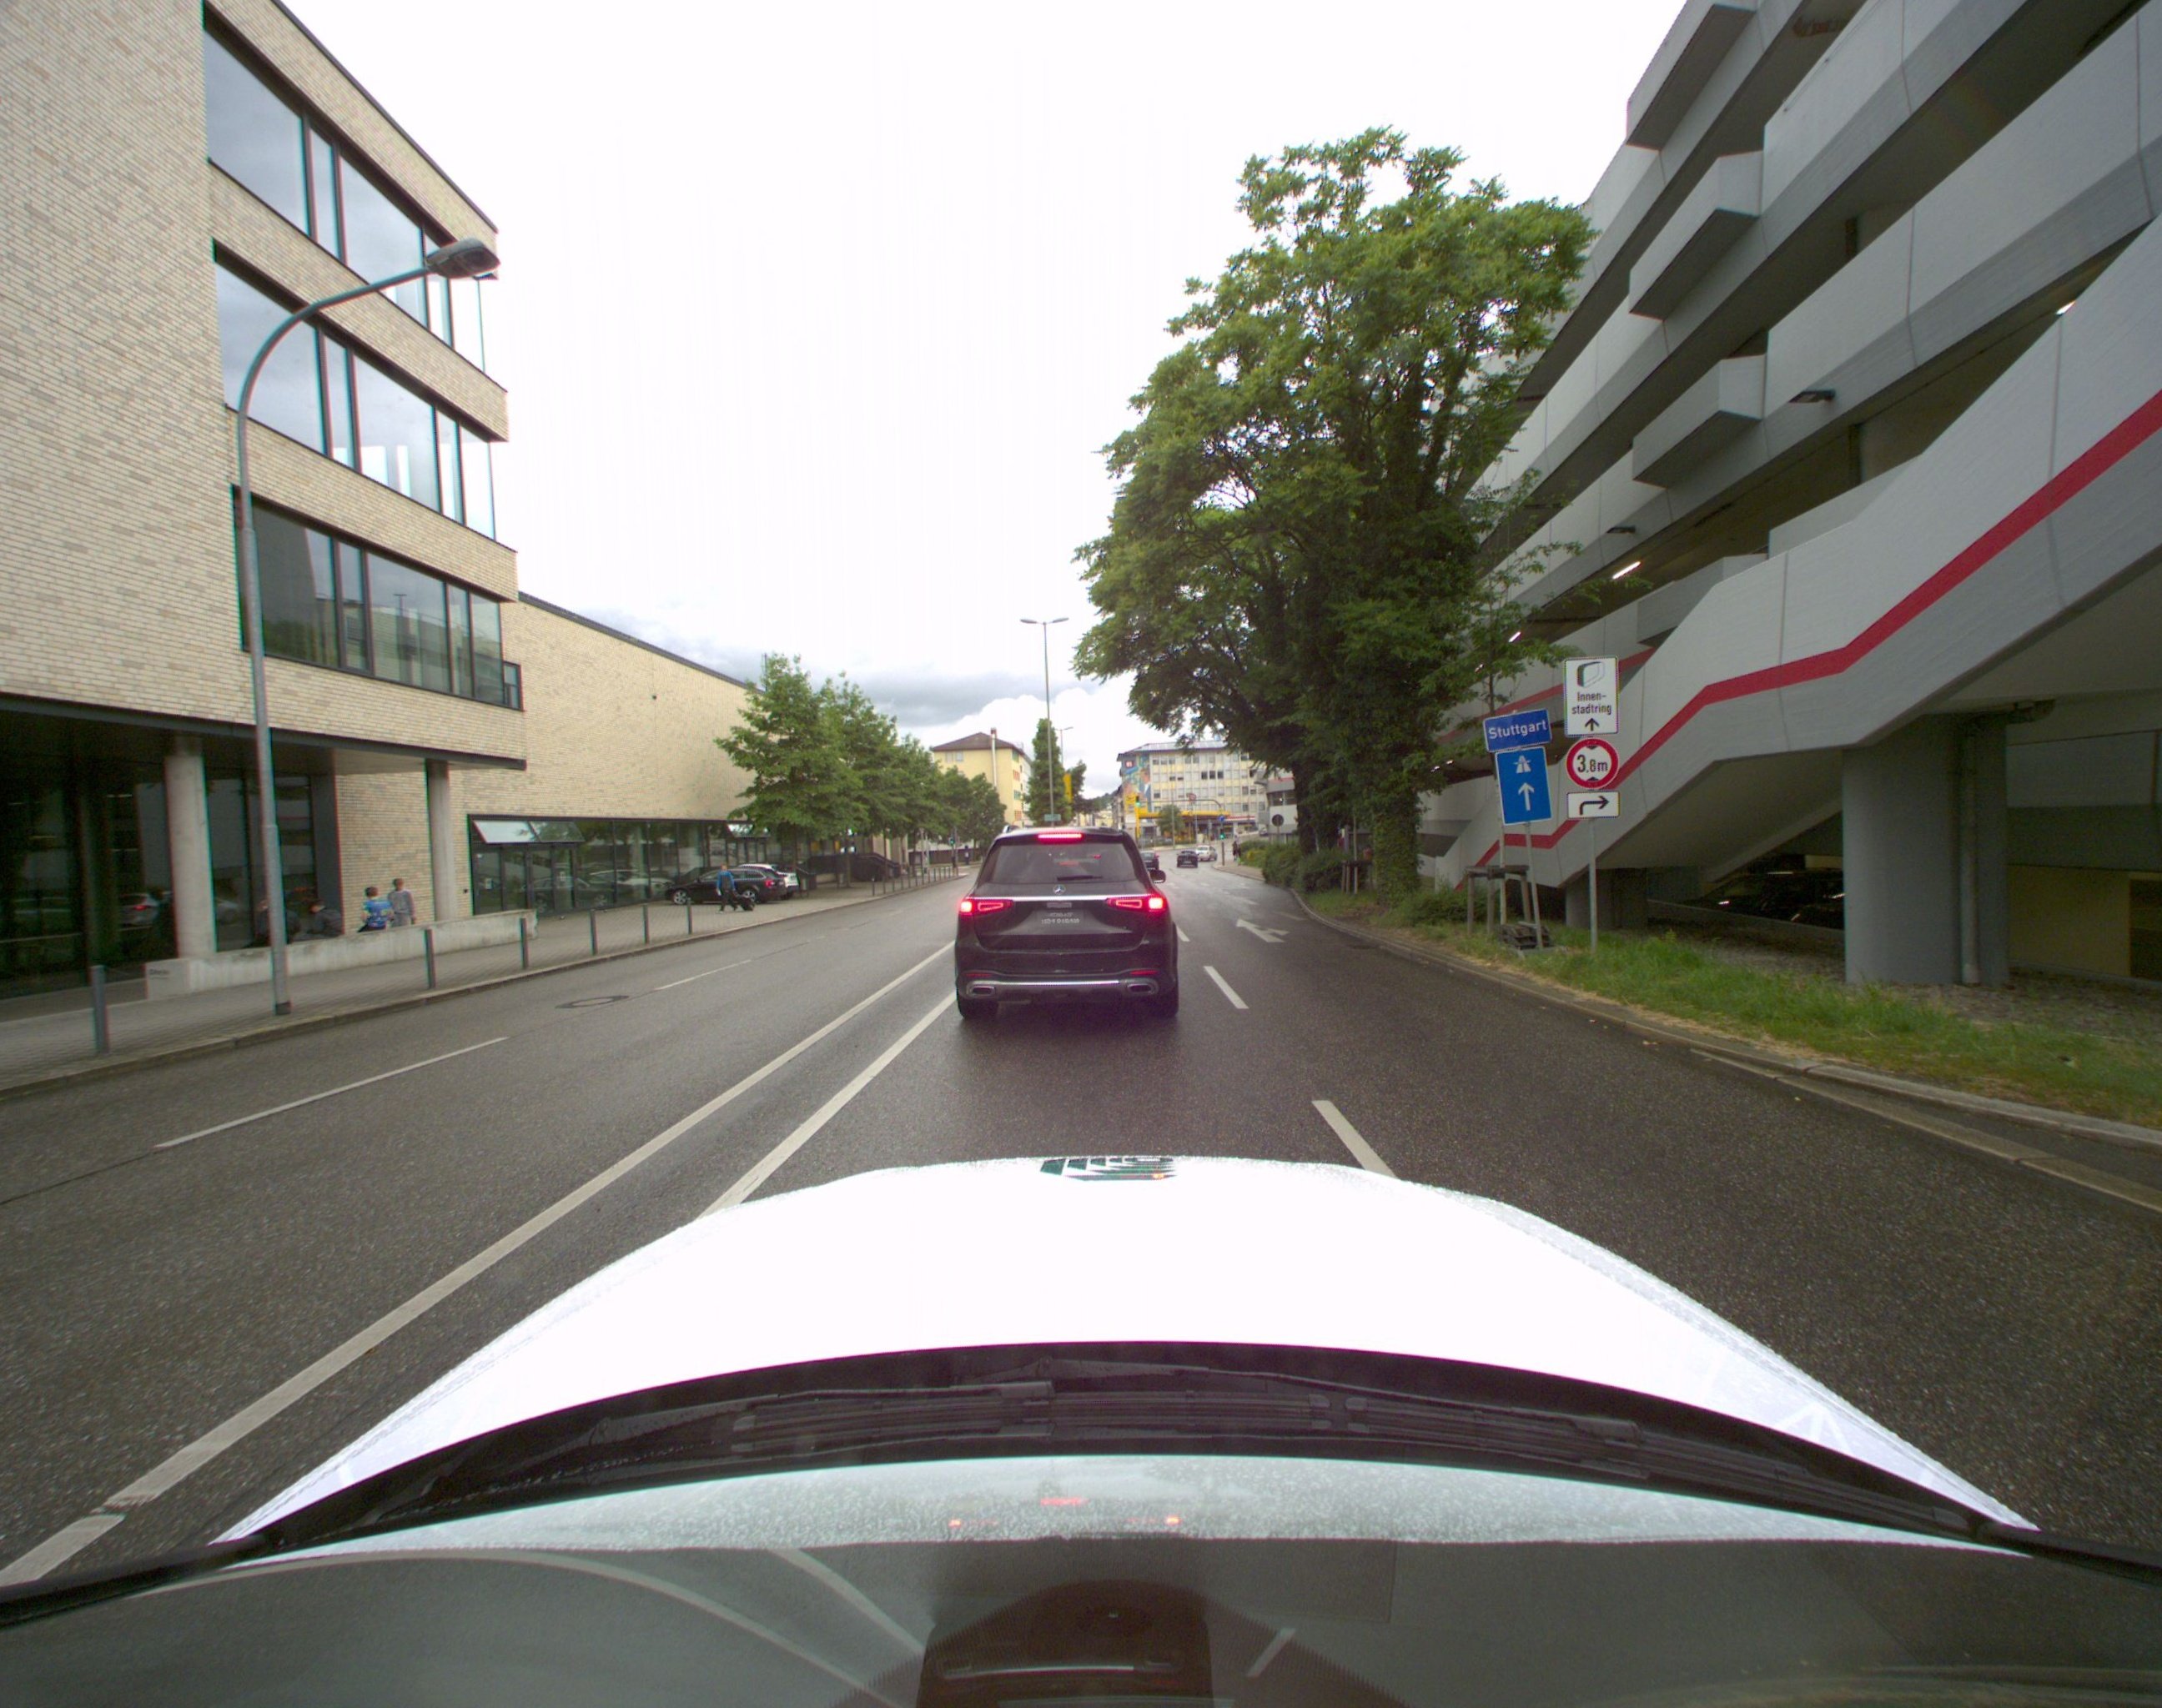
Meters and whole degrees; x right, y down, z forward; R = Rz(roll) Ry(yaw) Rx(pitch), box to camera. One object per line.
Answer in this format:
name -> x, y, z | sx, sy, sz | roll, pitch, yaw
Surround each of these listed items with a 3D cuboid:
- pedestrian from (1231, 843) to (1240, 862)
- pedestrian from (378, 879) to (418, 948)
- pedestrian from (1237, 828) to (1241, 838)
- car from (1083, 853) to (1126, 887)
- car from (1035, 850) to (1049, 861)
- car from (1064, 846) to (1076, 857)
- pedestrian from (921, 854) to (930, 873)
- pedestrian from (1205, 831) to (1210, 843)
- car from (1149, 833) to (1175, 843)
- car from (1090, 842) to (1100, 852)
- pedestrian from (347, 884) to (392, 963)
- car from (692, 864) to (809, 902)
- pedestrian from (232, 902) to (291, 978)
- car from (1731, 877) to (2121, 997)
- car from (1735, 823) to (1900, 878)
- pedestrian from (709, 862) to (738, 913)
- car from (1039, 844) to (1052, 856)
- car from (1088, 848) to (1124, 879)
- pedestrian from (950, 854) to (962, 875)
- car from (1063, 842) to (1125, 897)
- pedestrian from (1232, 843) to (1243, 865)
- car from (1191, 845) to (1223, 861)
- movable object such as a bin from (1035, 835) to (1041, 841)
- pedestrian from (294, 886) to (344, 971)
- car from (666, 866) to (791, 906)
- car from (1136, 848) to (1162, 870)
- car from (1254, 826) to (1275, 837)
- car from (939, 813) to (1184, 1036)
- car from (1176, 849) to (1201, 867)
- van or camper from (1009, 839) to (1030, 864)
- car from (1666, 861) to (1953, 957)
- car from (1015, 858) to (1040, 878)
pedestrian -> 13.943, -0.107, 73.675 | 0.716, 1.690, 0.455 | 0, -1, -5
pedestrian -> -15.116, 1.303, 18.026 | 0.440, 1.475, 0.528 | 0, -1, -3
pedestrian -> 26.460, -3.509, 136.436 | 0.521, 1.727, 0.693 | -2, 1, 28
car -> 1.097, 0.710, 37.840 | 1.900, 1.501, 4.001 | 0, -1, 2
car -> -5.307, 0.245, 110.906 | 1.792, 1.495, 3.802 | 0, -1, -1
car -> -1.794, -0.454, 133.543 | 1.900, 1.703, 3.998 | 0, -1, -1
pedestrian -> -13.783, 0.871, 71.997 | 0.641, 1.665, 1.017 | 0, -1, -4
pedestrian -> 18.634, -2.546, 120.036 | 0.570, 1.697, 0.631 | 0, -1, 3
car -> 12.771, -2.505, 128.496 | 1.747, 1.376, 3.952 | -4, 1, -42
car -> 2.974, -1.399, 169.467 | 1.985, 2.014, 4.003 | 0, -1, 3
pedestrian -> -13.650, 1.315, 15.630 | 0.448, 1.475, 0.463 | 0, -1, -4
car -> -14.169, 1.211, 35.041 | 4.158, 1.547, 2.002 | 0, -1, 3
pedestrian -> -13.537, 1.411, 13.463 | 0.546, 1.215, 0.422 | 0, -1, 4
car -> 12.937, 1.238, 12.726 | 3.966, 1.624, 1.842 | -1, 0, 6
car -> 26.175, -0.116, 29.106 | 3.958, 1.783, 1.823 | -2, 0, 14
pedestrian -> -12.160, 1.127, 27.709 | 0.632, 1.714, 0.705 | 0, -1, 4
car -> -5.239, -0.527, 121.228 | 1.900, 1.703, 3.998 | 0, -1, -1
car -> 1.368, 0.528, 44.395 | 1.900, 1.586, 4.001 | 0, -1, 2
pedestrian -> -10.403, 0.885, 67.675 | 0.948, 1.704, 0.709 | 0, -1, -16
car -> 0.490, 0.518, 28.642 | 1.986, 1.800, 4.001 | 0, -1, 2
pedestrian -> 12.548, -0.016, 65.249 | 0.639, 1.710, 0.474 | -2, -1, 38
car -> 12.324, -0.066, 79.357 | 1.737, 1.549, 4.025 | -1, -1, 30
movable object such as a bin -> -7.507, -2.777, 141.512 | 0.906, 1.038, 0.844 | 0, -1, 2
pedestrian -> -13.532, 1.309, 14.465 | 0.448, 1.475, 0.463 | 0, -1, -4
car -> -14.072, 1.259, 32.733 | 4.169, 1.495, 1.997 | 0, -1, -5
car -> 5.108, 0.347, 61.513 | 1.789, 1.525, 4.058 | 0, 1, 2
car -> 31.108, -3.799, 137.860 | 1.974, 1.705, 4.026 | -2, 1, 35
car -> -0.097, 0.587, 8.615 | 1.986, 1.800, 4.001 | 0, -1, 2
car -> 8.930, 0.323, 67.616 | 1.934, 1.486, 4.009 | -1, -1, 9
van or camper -> -6.767, -0.252, 89.452 | 2.099, 2.582, 5.898 | -4, 0, -5
car -> 13.654, 1.010, 15.492 | 3.713, 1.540, 1.815 | -1, 3, 7
car -> -4.403, 1.158, 67.936 | 1.735, 1.470, 3.882 | -4, 0, 0
